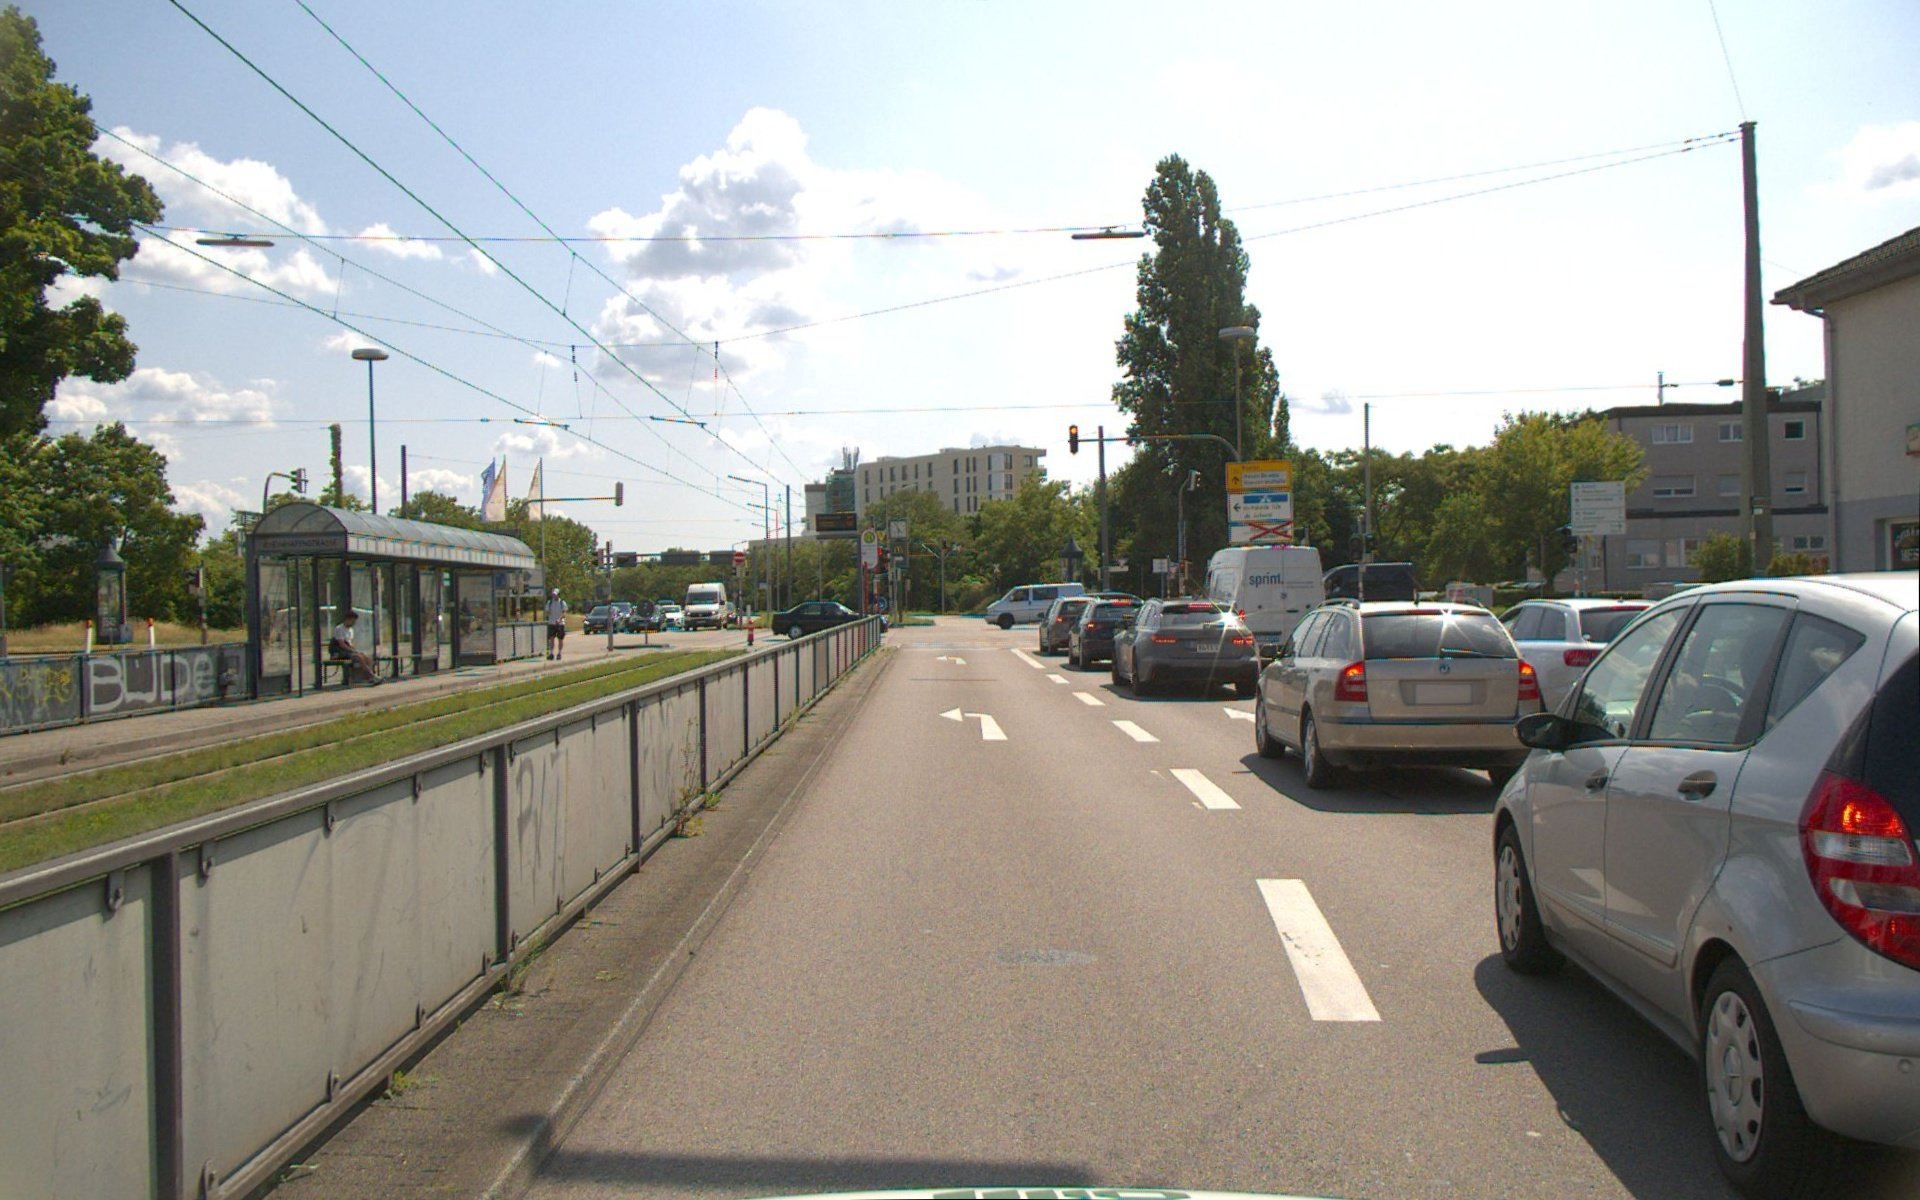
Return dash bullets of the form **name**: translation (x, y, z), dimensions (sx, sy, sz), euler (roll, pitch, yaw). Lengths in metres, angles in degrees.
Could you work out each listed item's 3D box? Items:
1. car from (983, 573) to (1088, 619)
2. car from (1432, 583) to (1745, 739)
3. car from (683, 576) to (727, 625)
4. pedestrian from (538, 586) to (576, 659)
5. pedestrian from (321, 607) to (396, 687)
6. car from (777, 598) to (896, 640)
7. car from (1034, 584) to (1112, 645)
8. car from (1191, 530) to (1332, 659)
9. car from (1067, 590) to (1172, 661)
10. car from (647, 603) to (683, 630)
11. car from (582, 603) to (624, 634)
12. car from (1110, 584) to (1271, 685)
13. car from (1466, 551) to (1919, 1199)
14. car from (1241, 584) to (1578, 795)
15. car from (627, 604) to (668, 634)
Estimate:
- **car**: translation (3.377, -0.166, 74.535), dimensions (4.581, 1.970, 2.000), euler (-1, 0, -1)
- **car**: translation (6.828, 0.582, 18.544), dimensions (1.816, 1.518, 4.536), euler (-1, 0, 1)
- **car**: translation (-14.152, 0.025, 91.950), dimensions (1.954, 2.651, 4.876), euler (0, 0, -3)
- **pedestrian**: translation (-10.216, 0.559, 41.923), dimensions (0.791, 1.826, 0.708), euler (-1, 0, -3)
- **pedestrian**: translation (-10.772, 0.834, 29.652), dimensions (1.037, 1.400, 0.860), euler (0, 0, -1)
- **car**: translation (-4.663, 0.704, 62.728), dimensions (4.369, 1.540, 2.000), euler (0, 0, -1)
- **car**: translation (2.946, 0.347, 43.879), dimensions (1.709, 1.525, 4.379), euler (-1, 0, -1)
- **car**: translation (6.541, -0.134, 36.454), dimensions (1.999, 2.602, 5.230), euler (-1, 0, -1)
- **car**: translation (3.385, 0.512, 35.816), dimensions (1.831, 1.444, 4.099), euler (0, 0, -1)
- **car**: translation (-17.773, 0.971, 99.729), dimensions (1.767, 1.568, 4.160), euler (0, 0, -4)
- **car**: translation (-20.070, 1.027, 93.182), dimensions (1.826, 1.680, 3.996), euler (0, 0, -5)
- **car**: translation (3.611, 0.493, 26.719), dimensions (1.849, 1.473, 4.827), euler (0, 0, -1)
- **car**: translation (2.975, 0.664, 5.404), dimensions (1.749, 1.604, 4.097), euler (-1, 0, 6)
- **car**: translation (3.669, 0.634, 14.373), dimensions (1.703, 1.518, 4.630), euler (-1, 0, 1)
- **car**: translation (-17.203, 1.027, 91.193), dimensions (1.859, 1.568, 3.726), euler (0, 0, -5)
